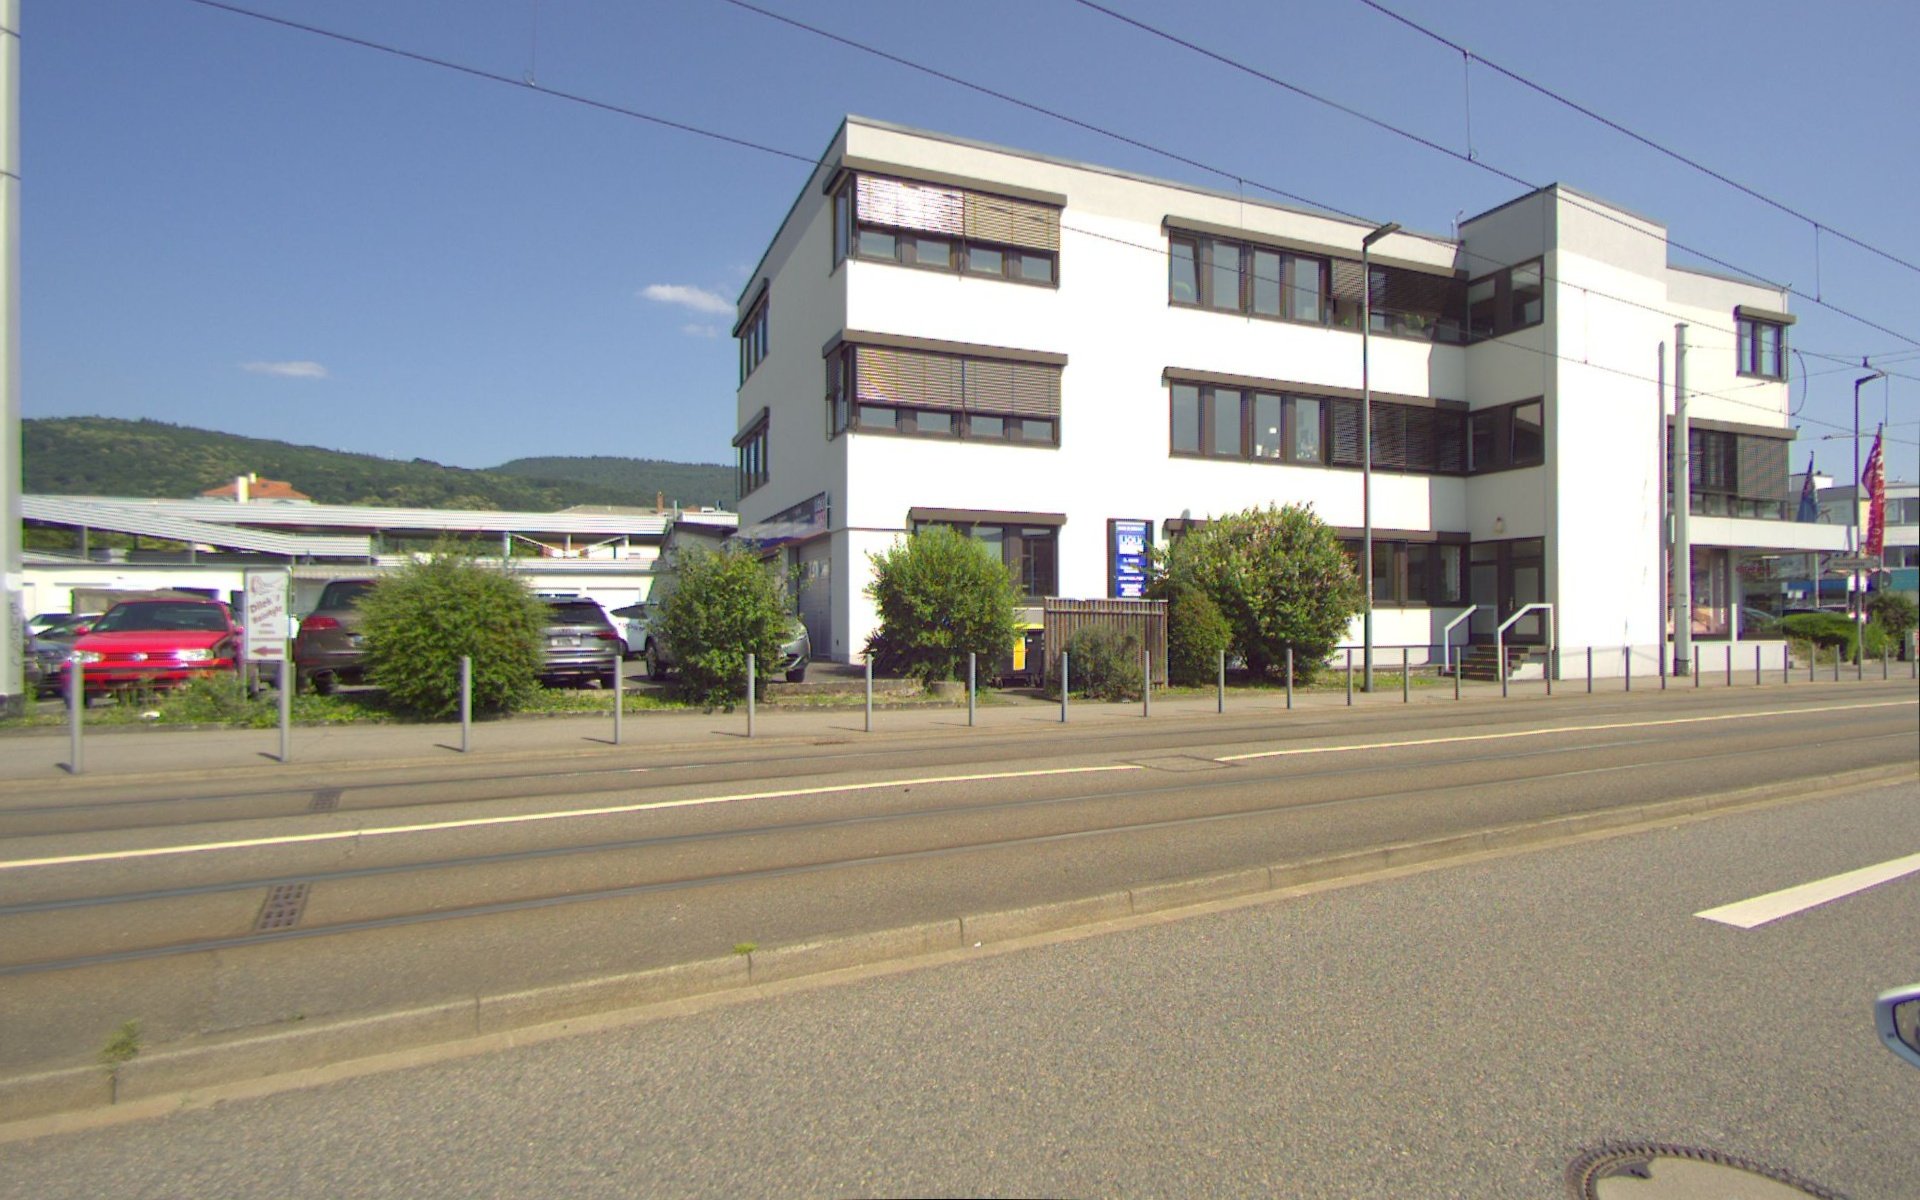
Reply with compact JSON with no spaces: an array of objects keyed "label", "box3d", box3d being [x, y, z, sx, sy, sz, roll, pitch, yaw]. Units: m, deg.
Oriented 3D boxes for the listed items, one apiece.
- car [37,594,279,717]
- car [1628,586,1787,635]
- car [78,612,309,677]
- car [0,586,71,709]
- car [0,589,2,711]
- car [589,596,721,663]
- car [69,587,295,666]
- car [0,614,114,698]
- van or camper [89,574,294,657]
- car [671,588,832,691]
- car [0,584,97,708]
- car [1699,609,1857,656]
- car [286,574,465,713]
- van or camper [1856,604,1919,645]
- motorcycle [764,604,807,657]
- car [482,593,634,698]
[{"label":"car","box3d":[-10.485,0.662,13.451,1.725,1.388,3.811,1,-1,-26]},{"label":"car","box3d":[25.761,0.360,34.742,1.974,1.584,3.974,1,-1,-26]},{"label":"car","box3d":[-19.616,1.130,25.987,4.363,1.578,1.981,1,-2,-24]},{"label":"car","box3d":[-14.477,0.612,13.105,3.878,1.588,1.847,1,-1,-23]},{"label":"car","box3d":[-13.262,0.600,10.867,3.782,1.562,1.732,1,-1,-23]},{"label":"car","box3d":[-7.815,0.728,25.965,3.078,1.445,1.418,-4,1,-13]},{"label":"car","box3d":[-21.224,0.733,27.667,4.516,2.040,2.046,1,-1,-24]},{"label":"car","box3d":[-17.122,0.924,16.934,3.942,1.376,1.838,1,-1,-22]},{"label":"van or camper","box3d":[-22.621,0.461,29.807,4.542,2.336,1.770,1,0,-26]},{"label":"car","box3d":[-3.621,0.619,17.017,1.459,1.549,3.602,1,-1,-33]},{"label":"car","box3d":[-15.772,0.672,14.958,3.942,1.808,1.990,1,-1,-22]},{"label":"car","box3d":[29.465,1.113,36.317,1.973,1.539,3.974,-2,0,-26]},{"label":"car","box3d":[-8.379,0.575,14.690,1.975,1.728,3.972,1,-1,-27]},{"label":"van or camper","box3d":[51.496,1.332,55.590,1.965,2.040,4.751,-1,1,31]},{"label":"motorcycle","box3d":[-4.066,0.694,23.346,0.530,1.149,1.700,-3,1,-24]},{"label":"car","box3d":[-6.315,0.727,15.585,1.532,1.440,3.367,1,-4,-34]}]
